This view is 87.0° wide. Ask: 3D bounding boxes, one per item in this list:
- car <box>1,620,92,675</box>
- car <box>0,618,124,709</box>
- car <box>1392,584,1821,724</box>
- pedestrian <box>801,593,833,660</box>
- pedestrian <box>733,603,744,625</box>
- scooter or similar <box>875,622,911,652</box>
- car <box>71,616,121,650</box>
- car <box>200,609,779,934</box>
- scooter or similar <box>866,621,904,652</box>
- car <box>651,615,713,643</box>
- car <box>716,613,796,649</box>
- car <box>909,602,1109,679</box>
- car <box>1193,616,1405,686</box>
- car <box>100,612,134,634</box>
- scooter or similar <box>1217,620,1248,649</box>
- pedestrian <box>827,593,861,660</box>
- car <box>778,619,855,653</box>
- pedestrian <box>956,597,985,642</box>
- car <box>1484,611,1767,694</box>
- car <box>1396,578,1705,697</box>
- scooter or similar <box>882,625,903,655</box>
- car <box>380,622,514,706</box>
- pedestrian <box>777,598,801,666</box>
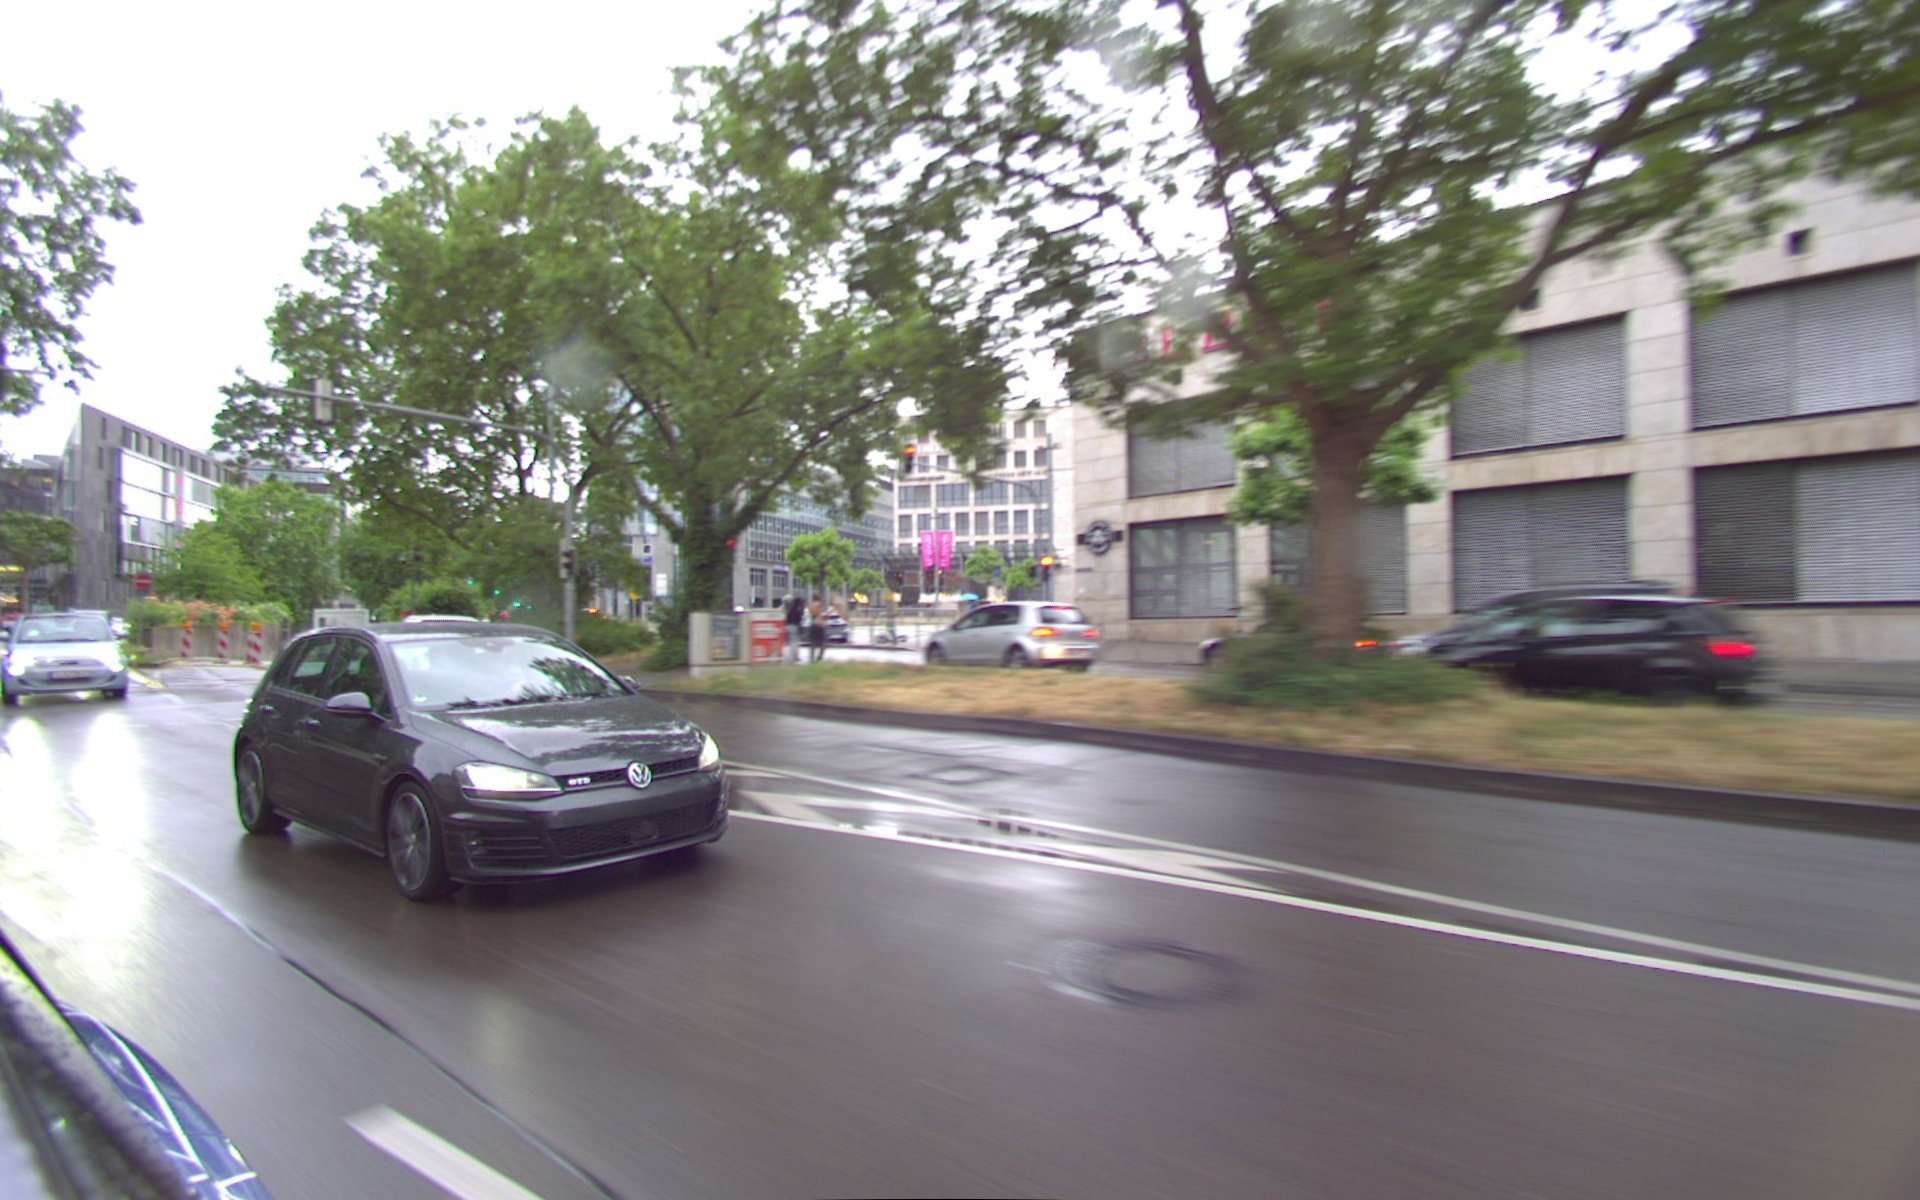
[{"bbox_3d":[-25.826,1.330,28.706,1.690,1.452,3.500,2,-3,-39],"label":"car"},{"bbox_3d":[-16.288,1.076,18.227,1.589,1.452,3.496,0,-1,-45],"label":"car"},{"bbox_3d":[7.452,0.553,12.008,1.725,1.375,3.951,1,-1,-39],"label":"car"},{"bbox_3d":[-3.525,0.644,24.898,0.636,1.626,0.446,-2,-1,16],"label":"pedestrian"},{"bbox_3d":[-16.279,1.040,74.295,0.574,1.639,0.559,0,-1,19],"label":"pedestrian"},{"bbox_3d":[-2.843,1.553,42.881,1.405,1.195,0.583,-2,0,-21],"label":"scooter or similar"},{"bbox_3d":[-47.168,1.799,55.235,1.969,1.757,3.914,0,-1,-42],"label":"car"},{"bbox_3d":[-3.227,0.822,6.580,4.117,1.463,1.767,-1,-1,38],"label":"car"},{"bbox_3d":[-3.087,1.498,41.649,1.406,1.195,0.583,-2,0,-31],"label":"scooter or similar"},{"bbox_3d":[-16.387,1.692,59.503,1.980,1.545,4.722,1,-1,-36],"label":"car"},{"bbox_3d":[-10.025,1.461,49.479,1.967,1.664,4.737,1,-1,-37],"label":"car"},{"bbox_3d":[0.877,0.749,20.342,1.725,1.375,4.139,1,-1,-39],"label":"car"},{"bbox_3d":[7.384,1.043,22.372,1.725,1.375,4.182,1,-1,-39],"label":"car"},{"bbox_3d":[-71.515,1.945,85.911,1.967,1.757,3.919,0,-1,-36],"label":"car"},{"bbox_3d":[9.115,1.160,33.776,0.348,0.926,1.401,-2,-2,44],"label":"scooter or similar"},{"bbox_3d":[-2.843,0.646,24.820,0.636,1.626,0.607,-2,-1,16],"label":"pedestrian"},{"bbox_3d":[-6.475,1.586,45.381,1.817,1.392,4.052,1,-1,-35],"label":"car"},{"bbox_3d":[0.456,0.850,44.594,0.581,1.939,1.126,-1,0,-44],"label":"pedestrian"},{"bbox_3d":[12.820,0.940,19.748,1.725,1.426,4.302,1,-1,-38],"label":"car"},{"bbox_3d":[9.324,0.543,16.112,4.085,1.652,1.814,0,-1,37],"label":"car"},{"bbox_3d":[-2.694,1.593,40.490,0.438,1.134,1.607,-2,0,11],"label":"scooter or similar"},{"bbox_3d":[-11.389,1.323,22.342,1.754,1.608,4.006,0,-1,-41],"label":"car"},{"bbox_3d":[-4.173,0.768,24.707,0.420,1.626,0.554,-1,-1,6],"label":"pedestrian"}]
